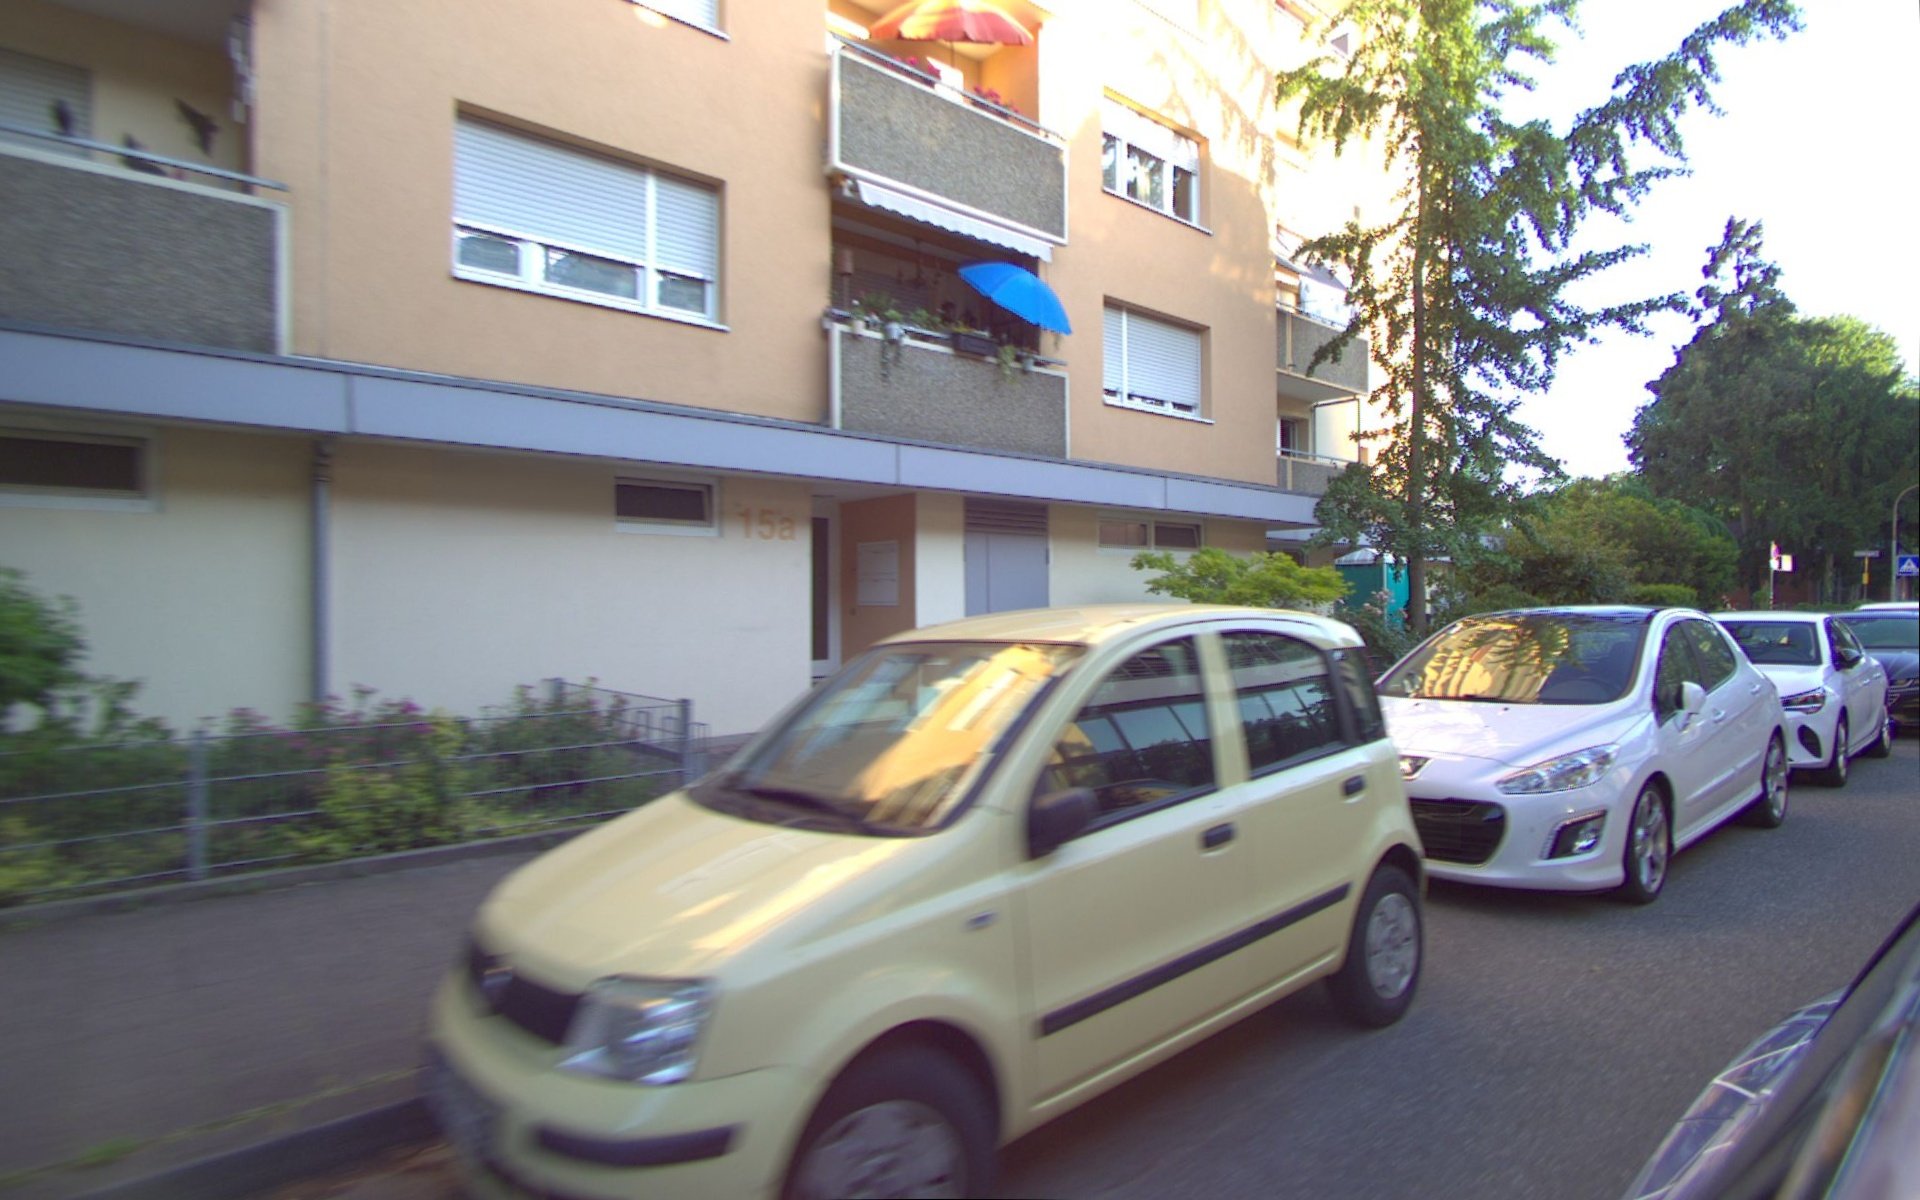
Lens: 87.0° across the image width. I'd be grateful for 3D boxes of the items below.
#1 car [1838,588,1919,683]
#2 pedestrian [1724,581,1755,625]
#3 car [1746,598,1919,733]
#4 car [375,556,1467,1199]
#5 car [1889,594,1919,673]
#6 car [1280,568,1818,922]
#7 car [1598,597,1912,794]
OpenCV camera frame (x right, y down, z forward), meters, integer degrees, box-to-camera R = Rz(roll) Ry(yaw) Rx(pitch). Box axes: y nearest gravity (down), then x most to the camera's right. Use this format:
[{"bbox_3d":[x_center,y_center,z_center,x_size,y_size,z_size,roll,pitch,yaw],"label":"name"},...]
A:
[{"bbox_3d":[15.927,0.538,16.551,3.827,1.435,1.813,0,0,-40],"label":"car"},{"bbox_3d":[32.746,0.116,42.515,0.818,1.746,0.853,4,3,31],"label":"pedestrian"},{"bbox_3d":[11.538,0.693,12.700,4.544,1.435,1.812,0,0,-41],"label":"car"},{"bbox_3d":[0.145,0.693,3.395,3.417,1.530,1.612,0,0,-41],"label":"car"},{"bbox_3d":[19.255,0.618,19.380,3.957,1.437,1.720,0,0,-41],"label":"car"},{"bbox_3d":[4.000,0.650,6.568,4.120,1.582,1.795,0,0,-41],"label":"car"},{"bbox_3d":[7.593,0.716,9.530,3.983,1.480,1.612,0,0,-41],"label":"car"}]
